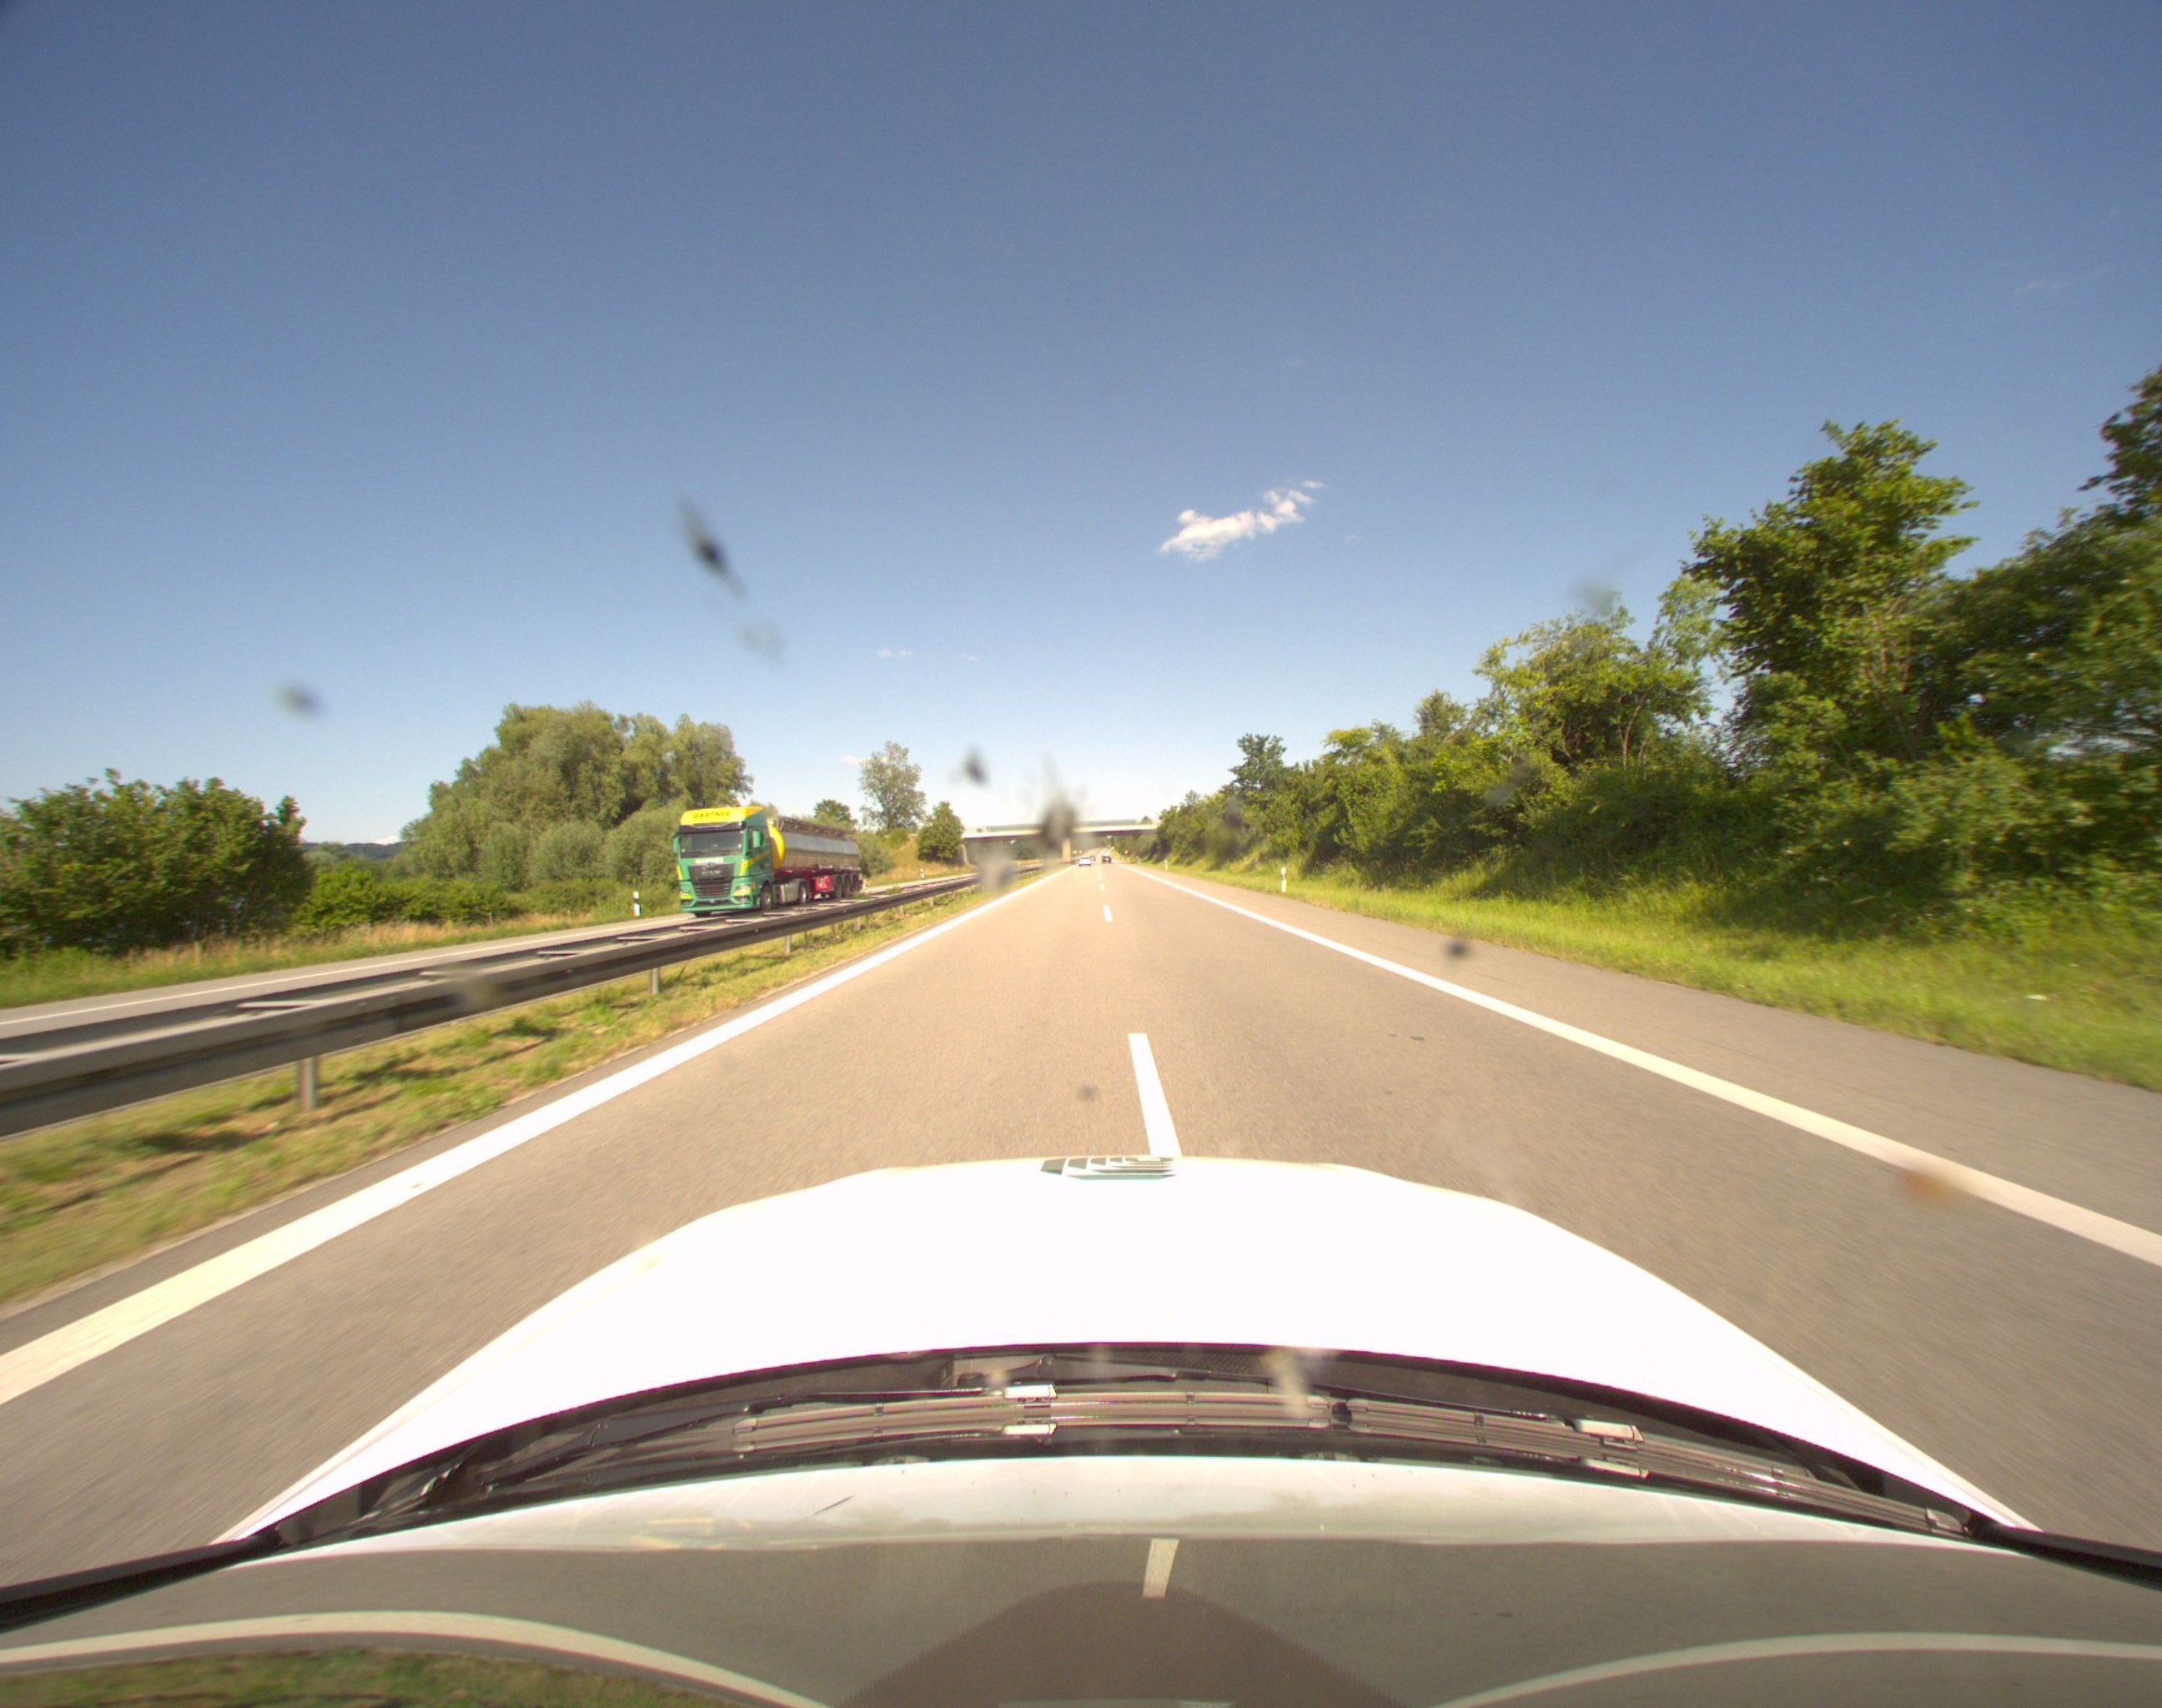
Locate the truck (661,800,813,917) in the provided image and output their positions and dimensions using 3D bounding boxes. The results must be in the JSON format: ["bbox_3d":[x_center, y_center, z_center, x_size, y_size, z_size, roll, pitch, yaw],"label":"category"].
[{"bbox_3d":[-12.259,0.164,29.614,2.945,3.731,5.568,-3,-1,0],"label":"truck"}]

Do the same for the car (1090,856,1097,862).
[{"bbox_3d":[3.400,1.403,225.363,1.836,1.436,4.000,0,0,1],"label":"car"}]

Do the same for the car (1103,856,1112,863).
[{"bbox_3d":[5.334,1.125,164.726,1.836,1.520,4.000,0,0,1],"label":"car"}]

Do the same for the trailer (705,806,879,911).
[{"bbox_3d":[-12.182,0.211,36.159,2.970,3.731,12.420,-3,0,1],"label":"trailer"}]

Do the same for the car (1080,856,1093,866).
[{"bbox_3d":[0.783,1.022,120.353,1.836,1.415,4.000,0,0,1],"label":"car"}]
